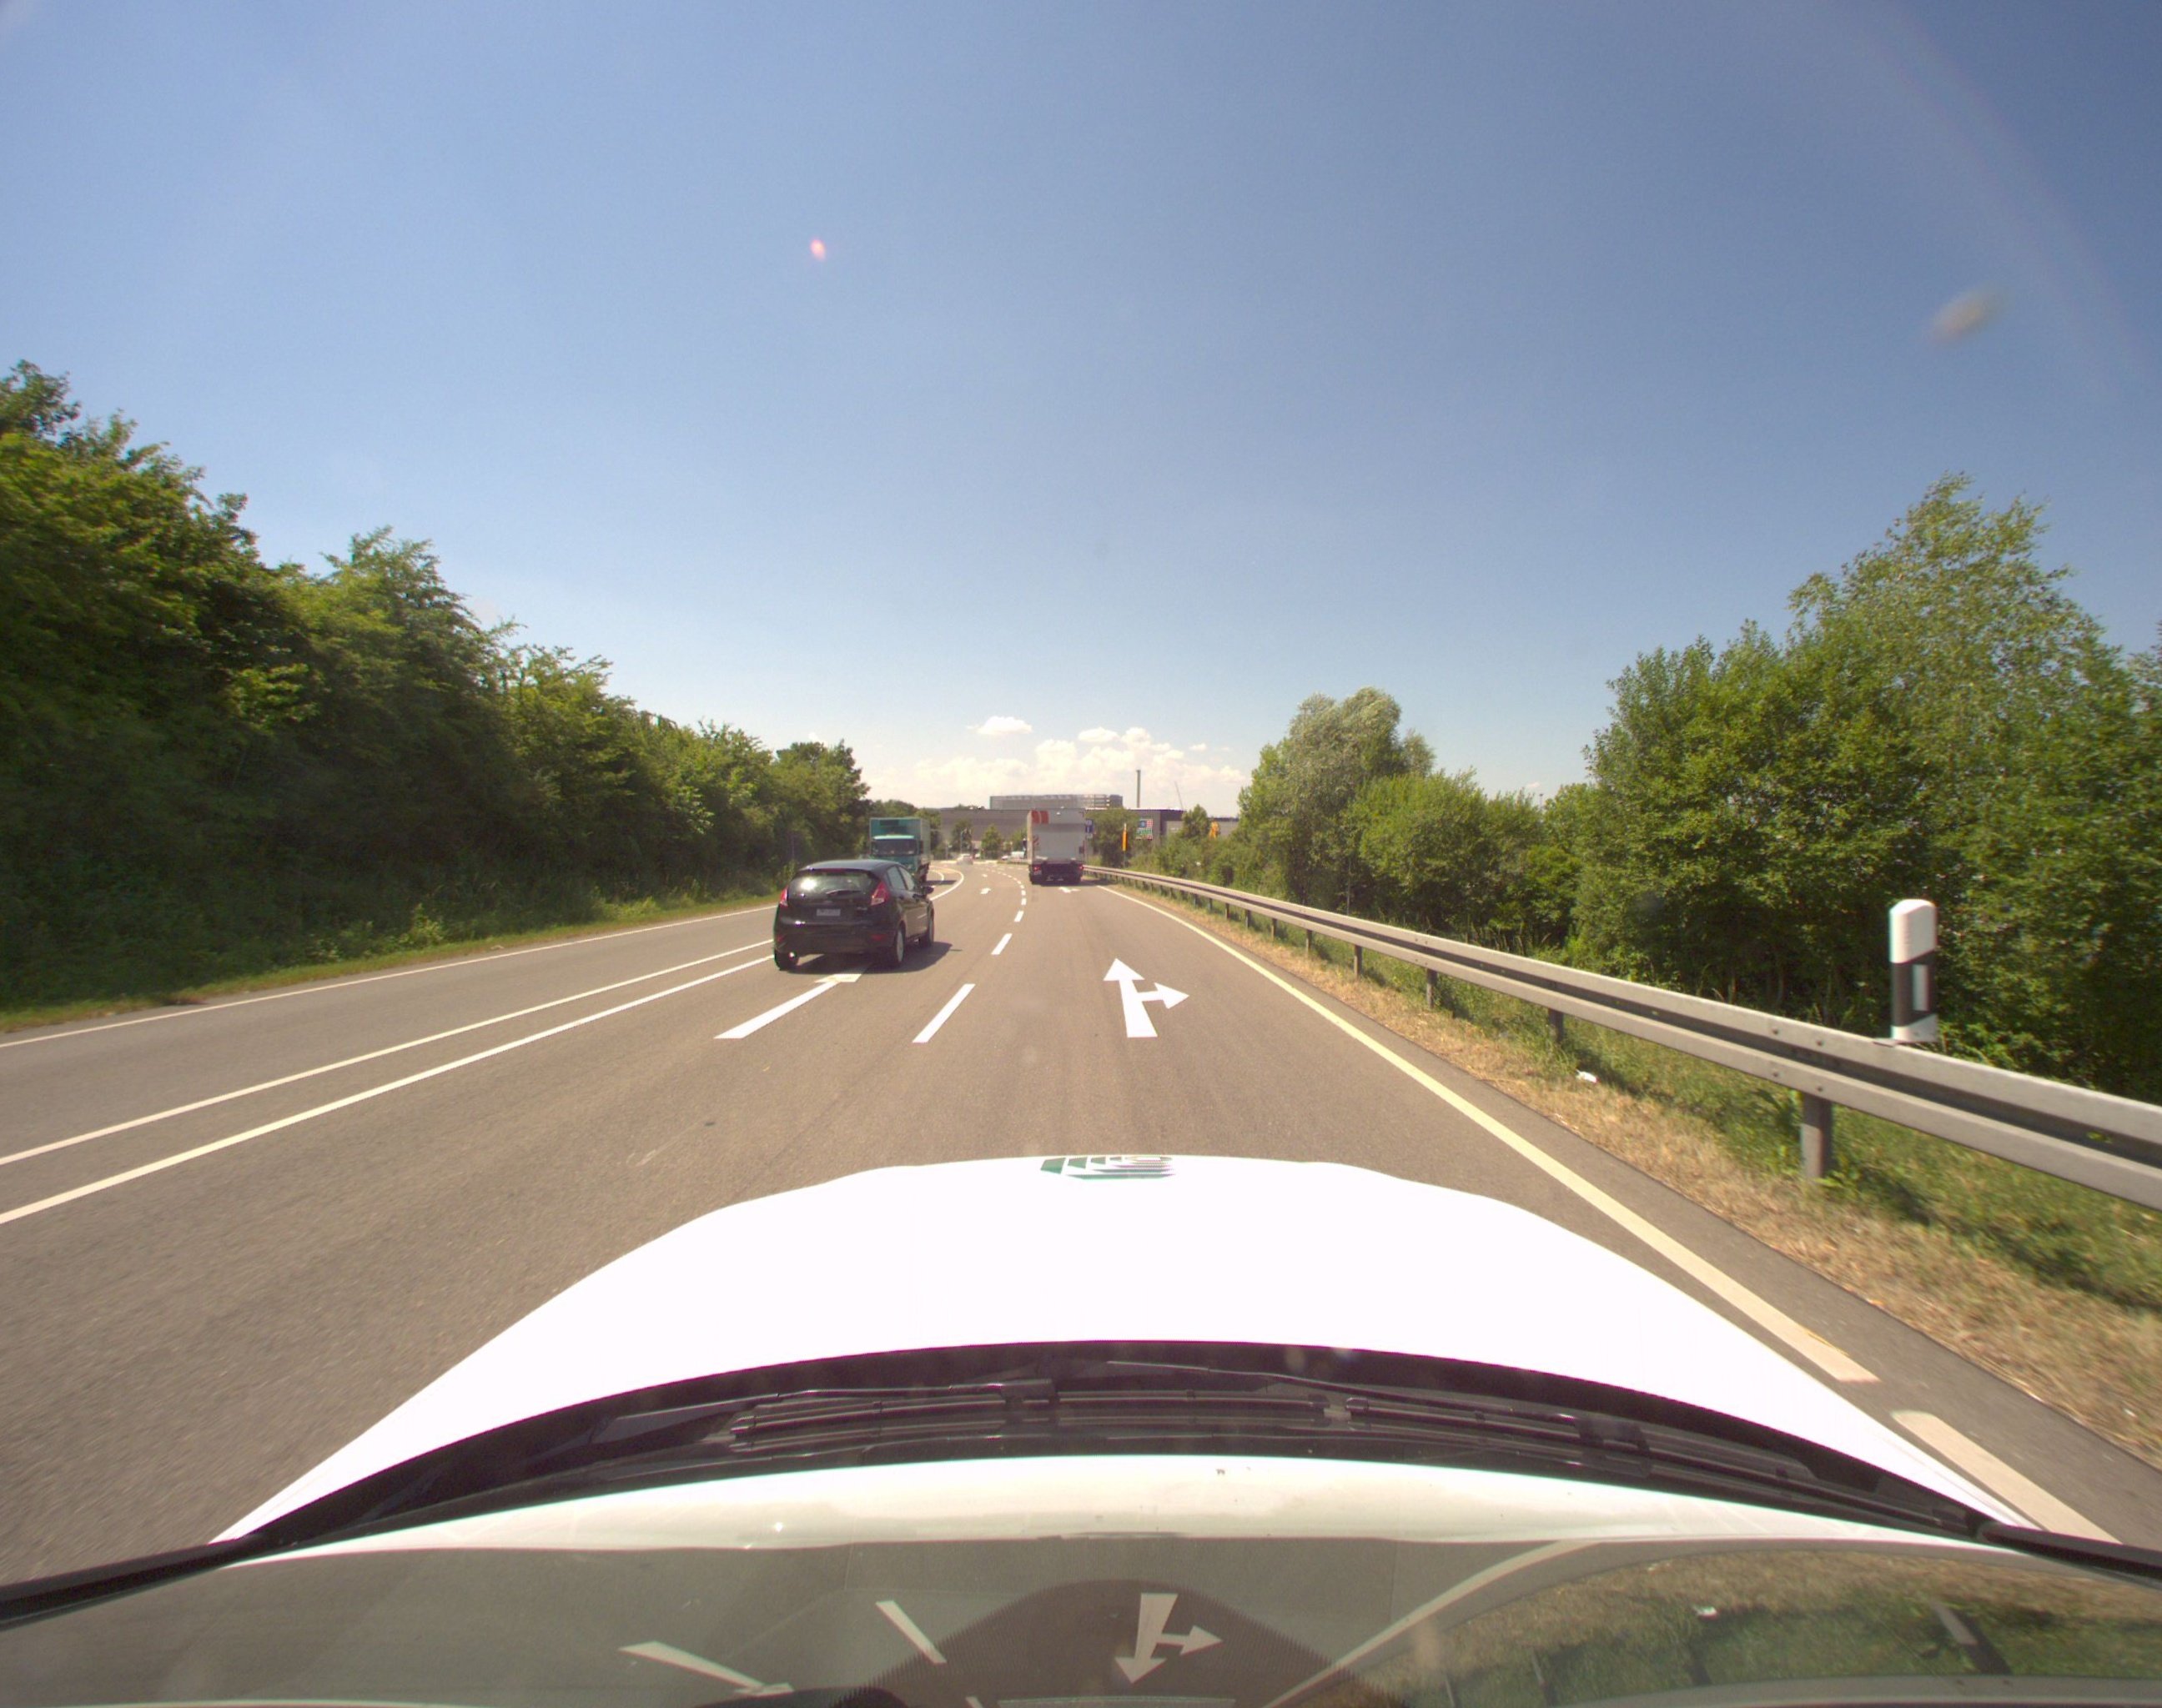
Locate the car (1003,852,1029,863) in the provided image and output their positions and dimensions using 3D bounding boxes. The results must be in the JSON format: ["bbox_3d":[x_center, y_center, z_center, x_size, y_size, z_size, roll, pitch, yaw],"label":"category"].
[{"bbox_3d":[-12.599,0.651,157.777,4.721,1.932,2.157,-1,0,6],"label":"car"}]

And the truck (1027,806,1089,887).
[{"bbox_3d":[-1.350,-0.414,41.994,2.798,3.710,9.094,0,1,-4],"label":"truck"}]

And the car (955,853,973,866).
[{"bbox_3d":[-16.420,0.766,113.883,1.948,1.664,3.978,2,0,-16],"label":"car"}]

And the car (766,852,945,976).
[{"bbox_3d":[-3.223,0.770,12.497,1.648,1.493,4.206,0,1,-1],"label":"car"}]

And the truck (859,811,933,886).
[{"bbox_3d":[-9.771,-0.267,43.994,2.866,3.574,9.408,-1,0,-7],"label":"truck"}]

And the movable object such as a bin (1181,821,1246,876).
[{"bbox_3d":[13.386,-0.690,83.342,3.426,5.260,9.193,1,2,-12],"label":"movable object such as a bin"}]
